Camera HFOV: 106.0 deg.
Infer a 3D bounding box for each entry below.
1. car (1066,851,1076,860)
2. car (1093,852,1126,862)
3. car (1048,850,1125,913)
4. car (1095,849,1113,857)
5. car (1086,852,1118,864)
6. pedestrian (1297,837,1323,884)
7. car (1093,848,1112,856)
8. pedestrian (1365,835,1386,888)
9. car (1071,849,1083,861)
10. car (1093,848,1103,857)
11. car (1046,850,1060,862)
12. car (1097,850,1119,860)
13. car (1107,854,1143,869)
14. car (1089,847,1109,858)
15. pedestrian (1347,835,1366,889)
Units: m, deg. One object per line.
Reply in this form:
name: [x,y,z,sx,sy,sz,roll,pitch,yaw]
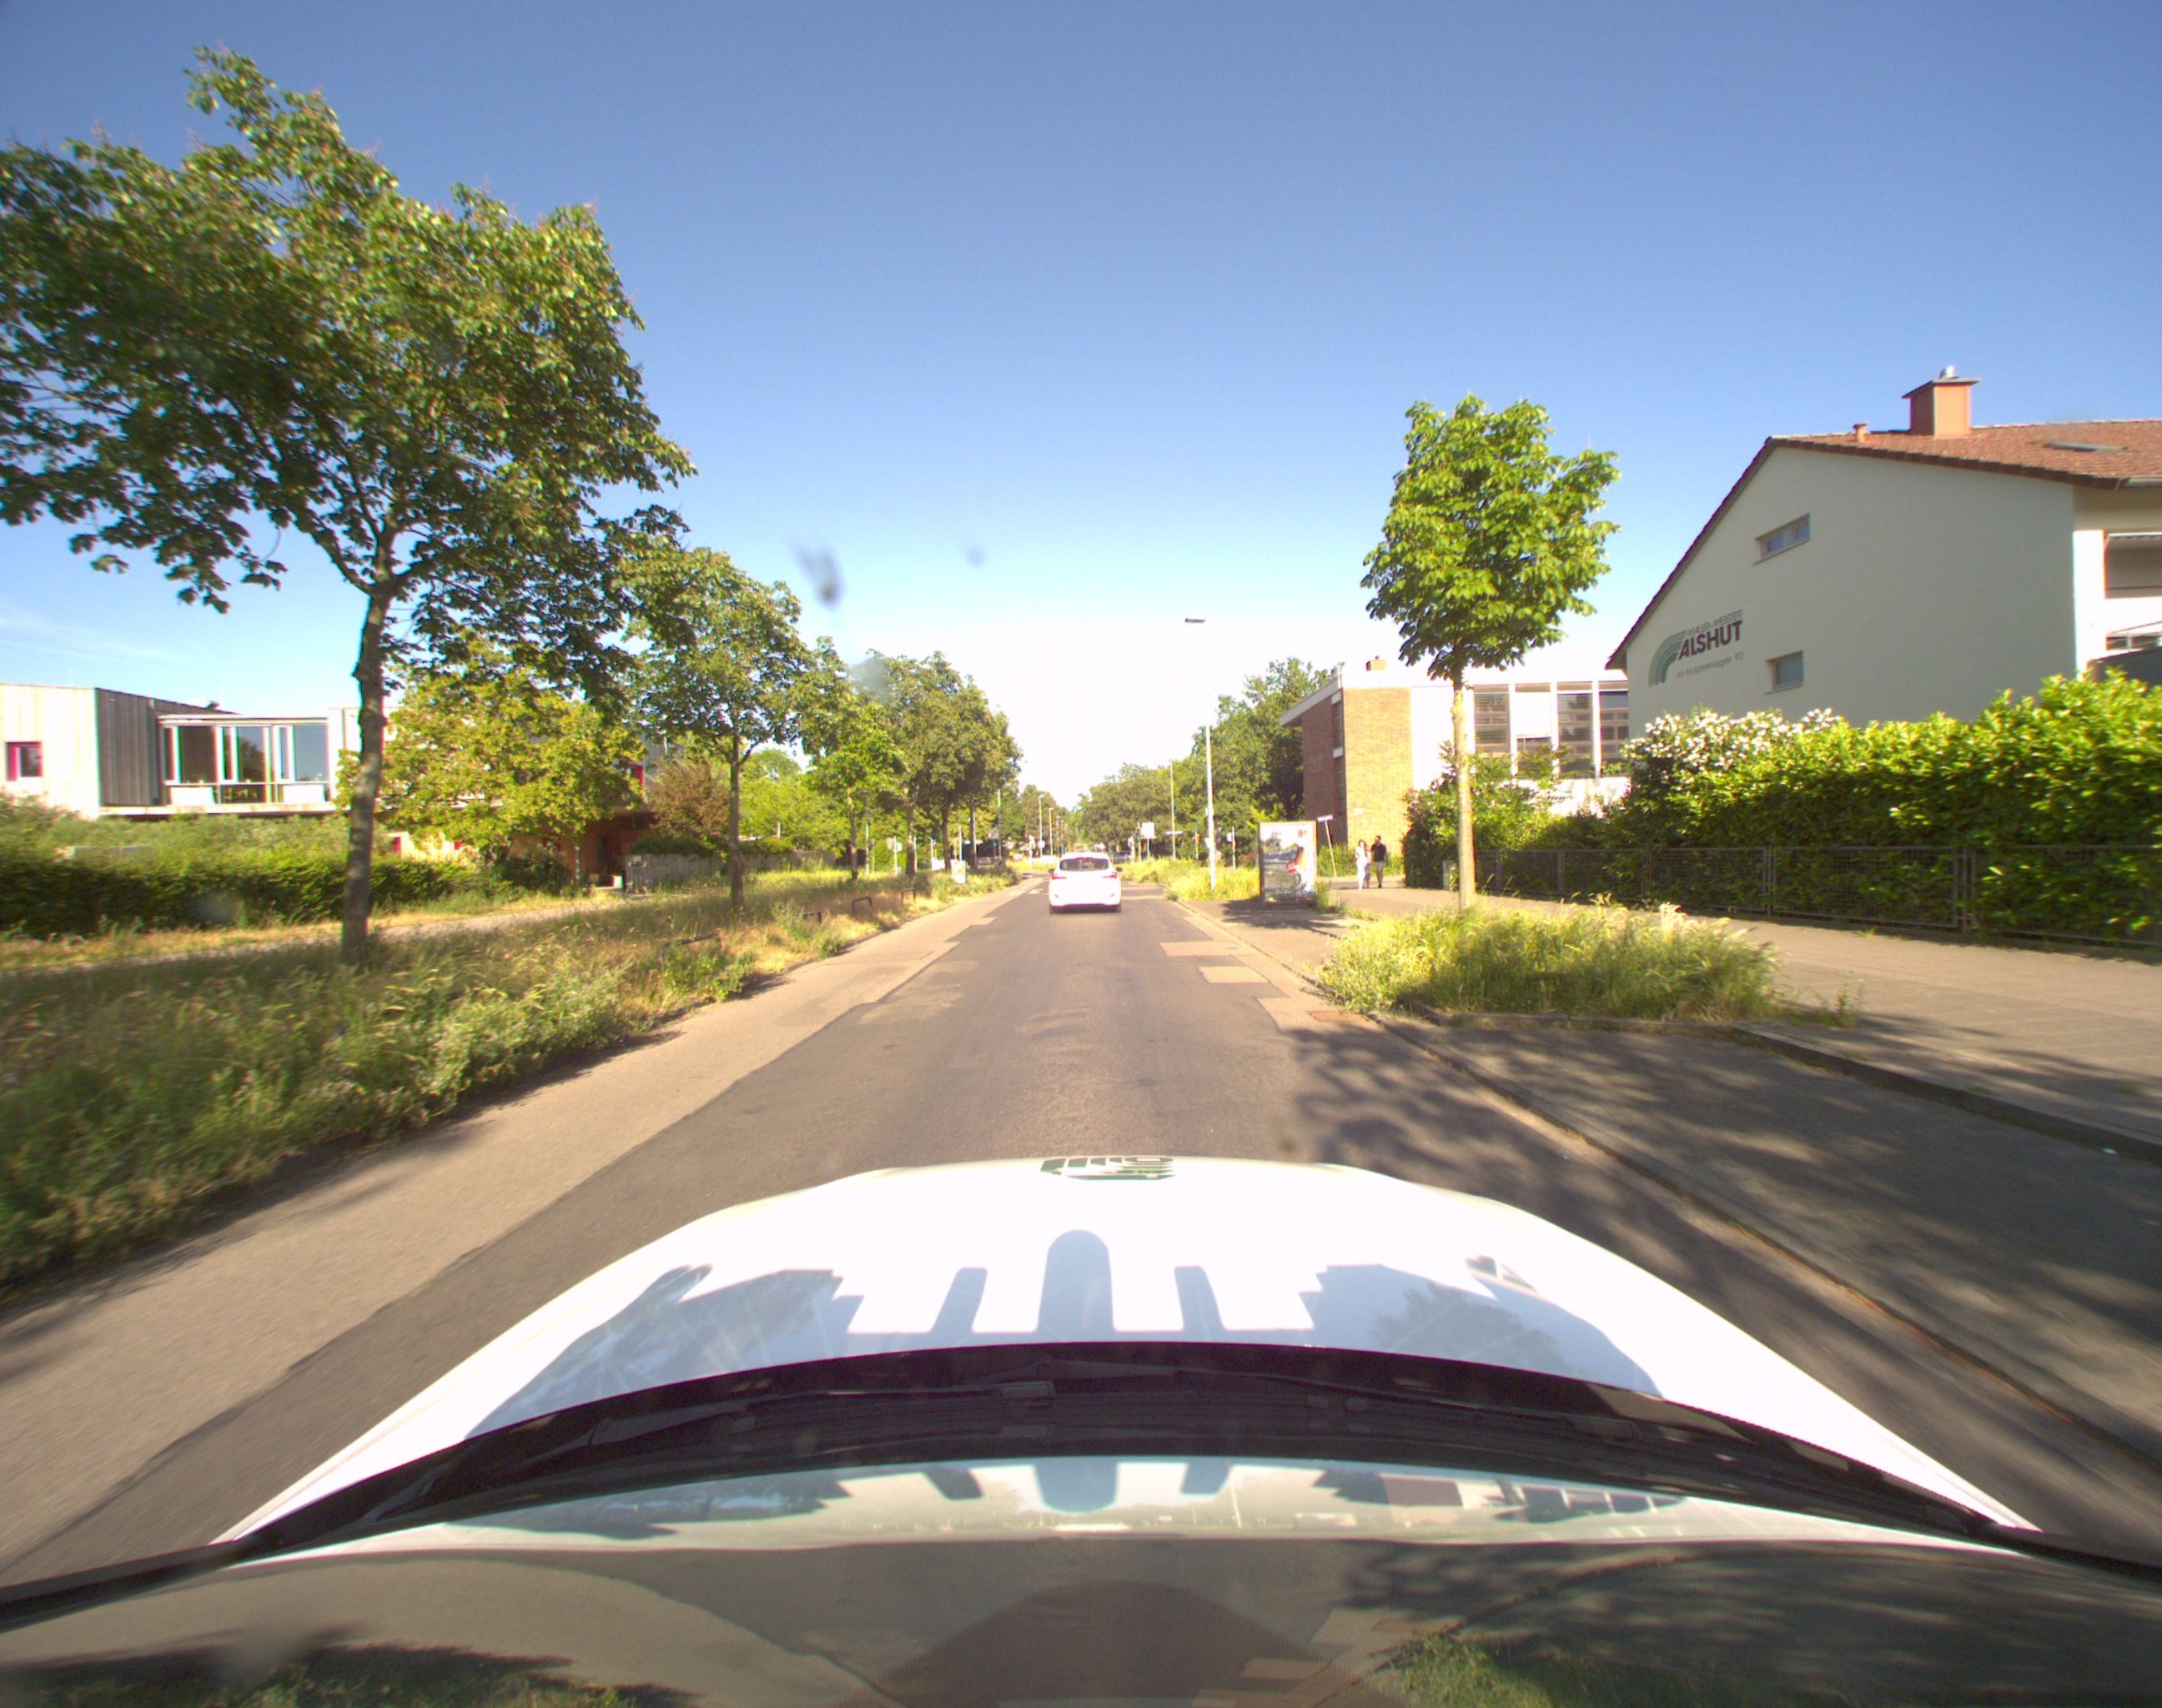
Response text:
car: [-2.169,0.382,177.609,1.987,1.816,4.000,-1,0,0]
car: [4.899,0.560,140.477,5.595,1.684,1.948,-1,0,0]
car: [0.141,0.642,21.279,1.783,1.463,3.963,-1,0,0]
car: [5.100,-0.300,181.474,3.807,1.767,1.863,-1,0,0]
car: [3.053,0.542,117.161,4.481,1.630,1.856,-2,0,2]
pedestrian: [8.993,0.246,32.018,0.894,1.821,0.738,-1,-1,10]
car: [4.890,-0.448,184.622,4.288,1.908,1.863,-1,0,0]
pedestrian: [9.641,0.244,26.687,0.601,1.732,0.642,-1,-1,16]
car: [-0.636,0.186,132.749,1.987,1.816,4.000,1,0,0]
car: [3.794,-0.329,182.536,1.987,1.816,4.000,-1,0,0]
car: [-4.486,0.260,129.270,1.987,1.815,4.001,-1,1,0]
car: [4.873,0.142,147.263,3.807,1.684,1.863,-1,0,0]
car: [5.673,0.994,105.253,4.481,1.783,1.856,-2,0,2]
car: [3.475,-0.297,157.296,3.807,2.098,1.863,-1,0,0]
pedestrian: [9.070,0.264,26.850,0.550,1.732,0.664,-1,-1,16]
